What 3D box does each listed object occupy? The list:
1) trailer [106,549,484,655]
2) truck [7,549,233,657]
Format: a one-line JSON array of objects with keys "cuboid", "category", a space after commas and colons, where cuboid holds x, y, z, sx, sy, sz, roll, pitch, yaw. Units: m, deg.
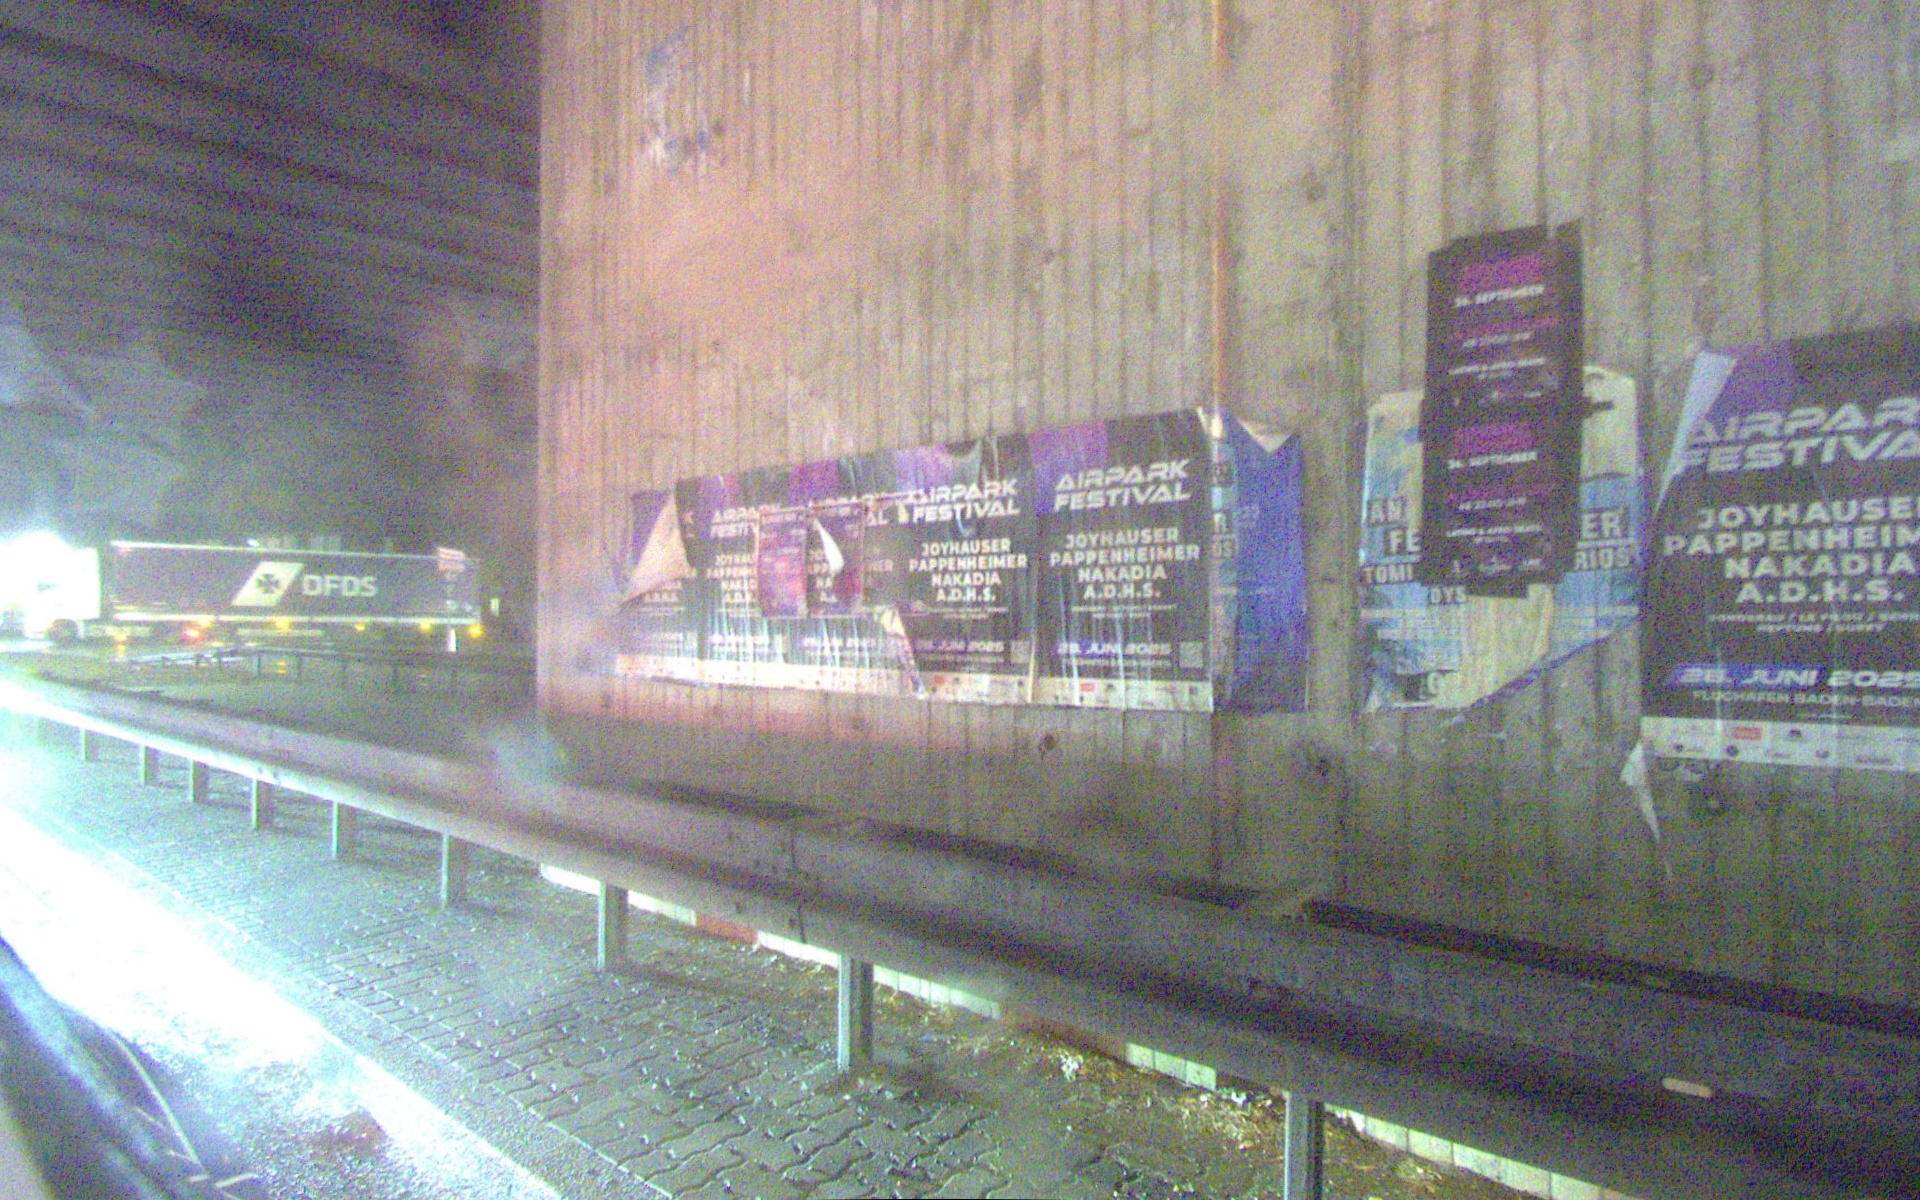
[{"cuboid": [-29.272, 0.004, 45.597, 13.688, 4.208, 3.980, -1, 0, -34], "category": "trailer"}, {"cuboid": [-34.666, 0.083, 42.167, 6.266, 4.208, 3.983, -1, 0, -22], "category": "truck"}]
